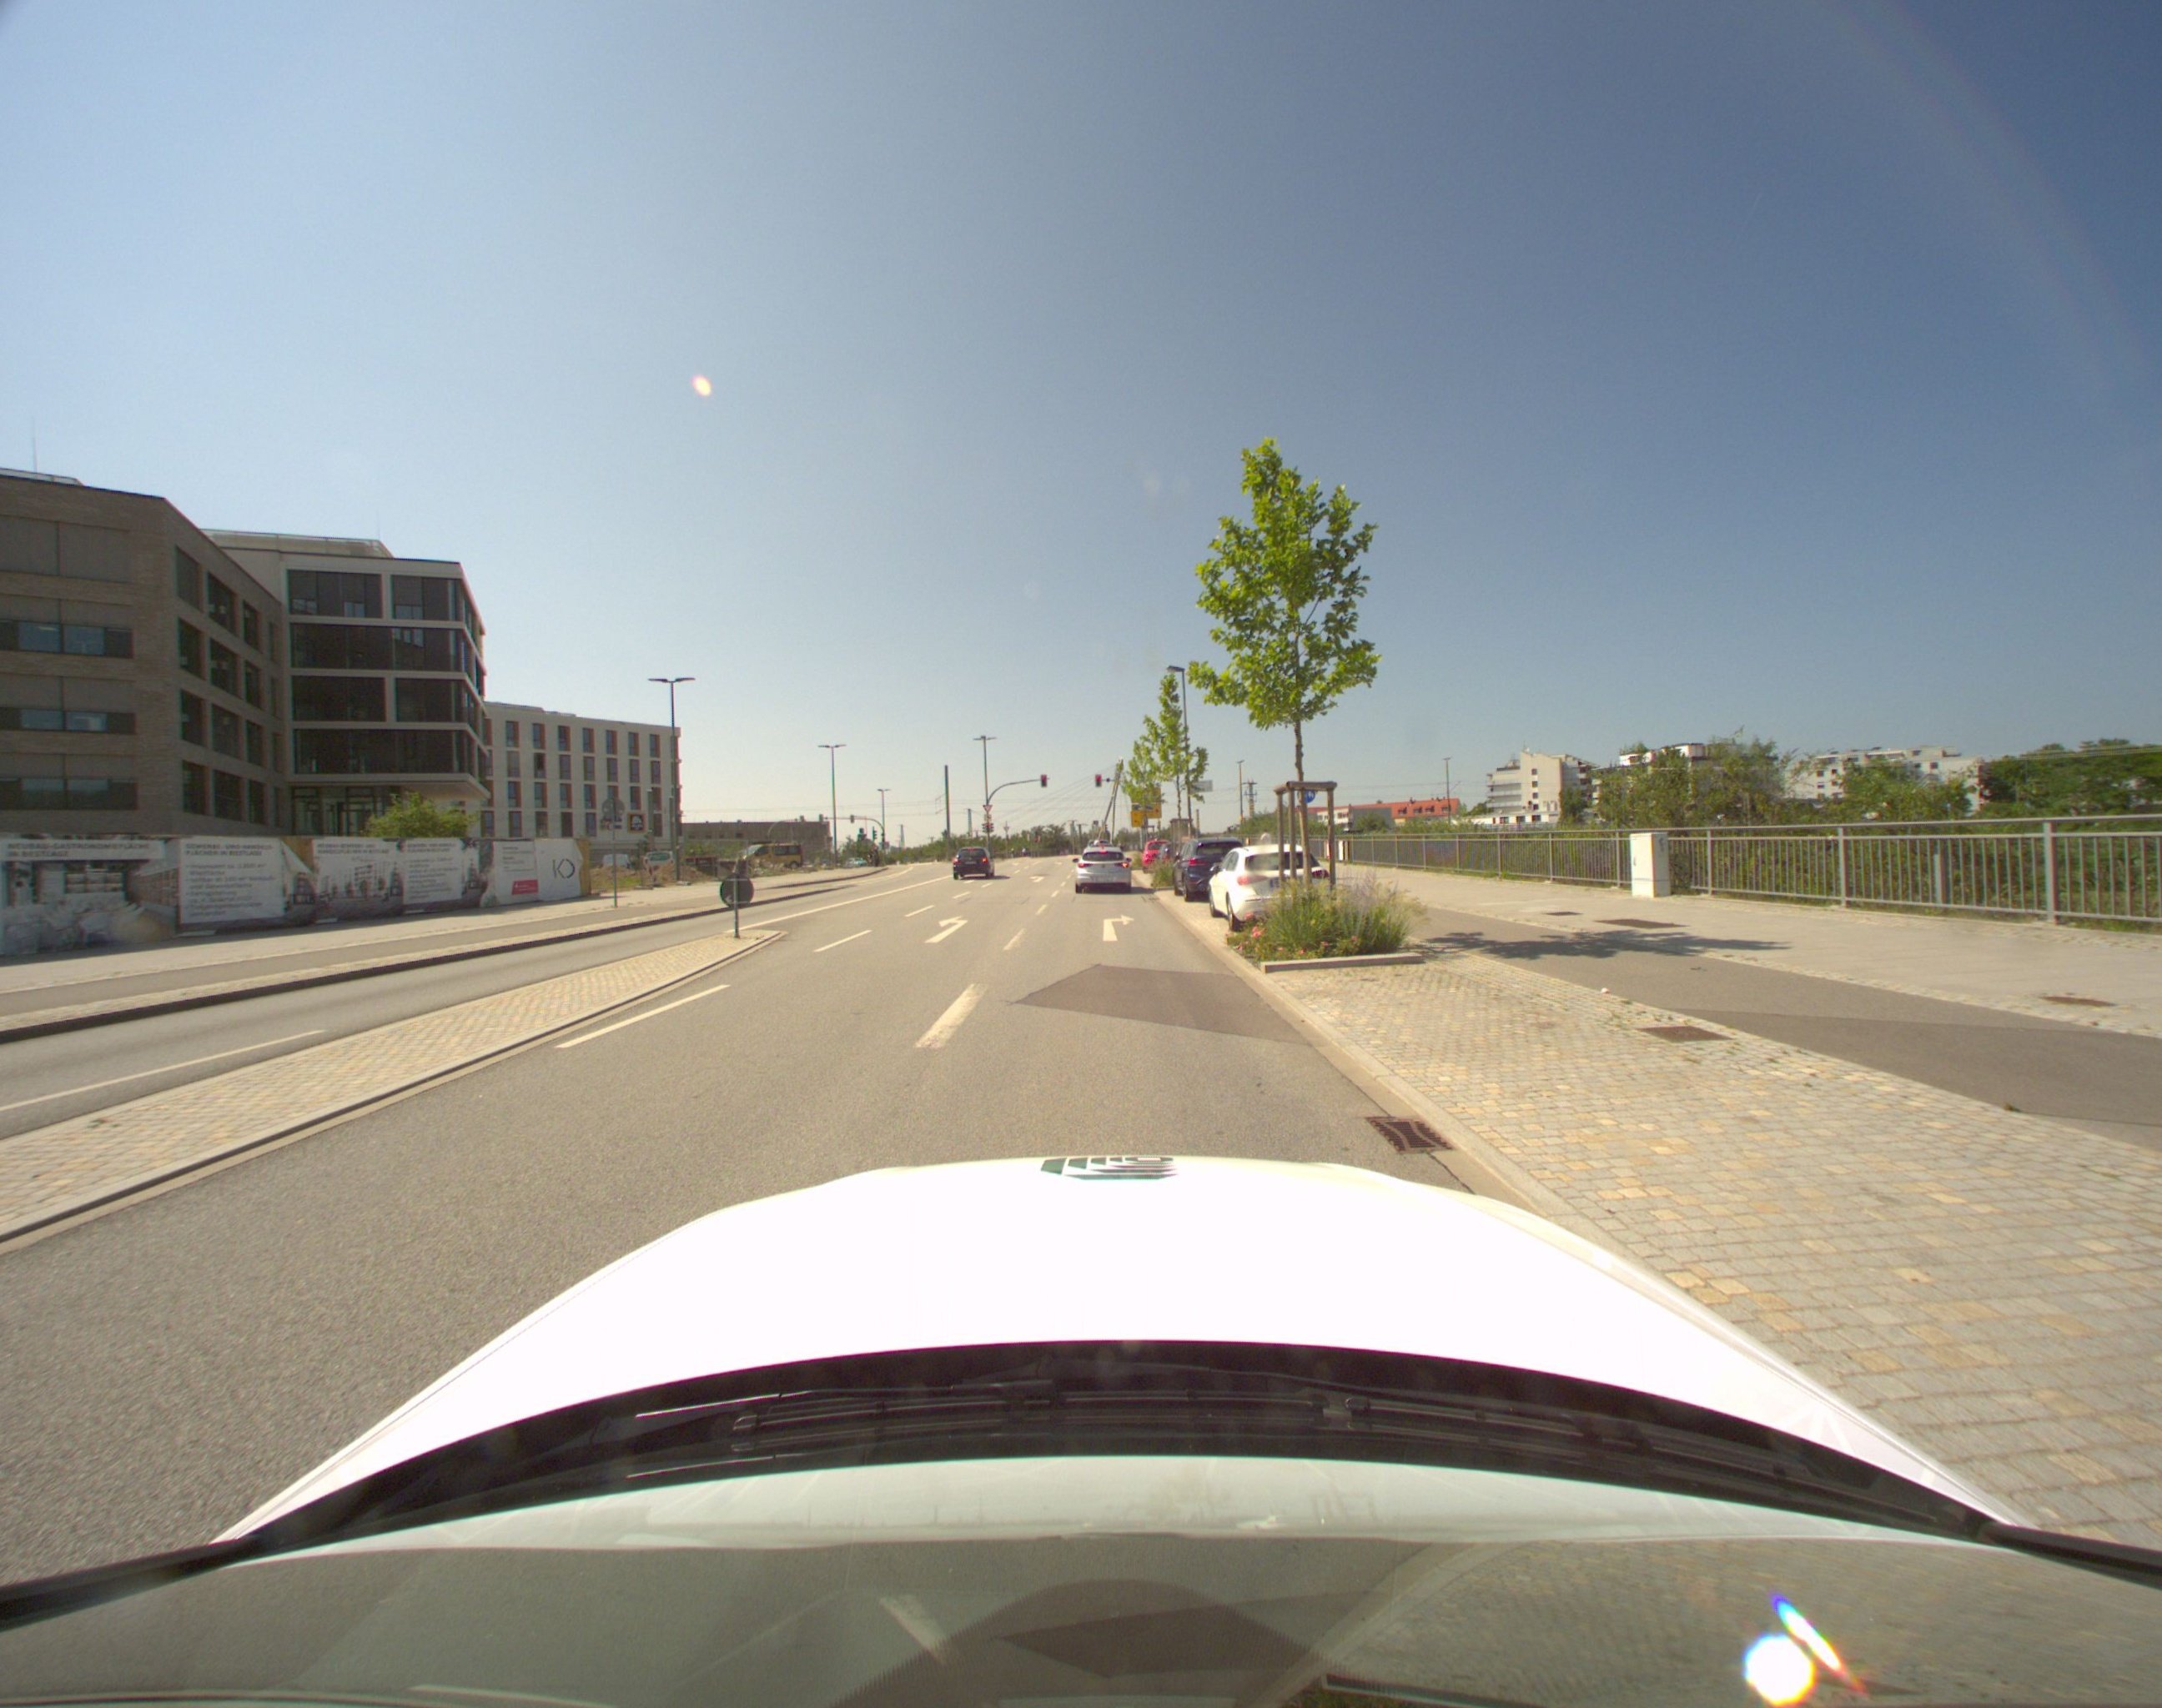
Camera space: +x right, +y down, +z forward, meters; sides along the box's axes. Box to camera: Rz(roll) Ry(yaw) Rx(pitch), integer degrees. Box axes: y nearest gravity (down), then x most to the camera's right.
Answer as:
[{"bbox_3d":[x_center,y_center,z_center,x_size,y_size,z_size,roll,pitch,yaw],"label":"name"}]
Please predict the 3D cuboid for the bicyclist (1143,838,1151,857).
[{"bbox_3d":[5.529,-0.543,68.100,0.591,1.644,0.312,0,-2,-5],"label":"bicyclist"}]

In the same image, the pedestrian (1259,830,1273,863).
[{"bbox_3d":[8.860,-0.359,39.020,0.531,1.575,0.524,-1,-2,1],"label":"pedestrian"}]

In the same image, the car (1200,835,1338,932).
[{"bbox_3d":[3.358,0.470,15.337,1.690,1.475,4.207,-3,0,2],"label":"car"}]

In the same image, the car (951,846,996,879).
[{"bbox_3d":[-4.897,0.375,37.487,1.615,1.416,3.725,-1,0,-1],"label":"car"}]

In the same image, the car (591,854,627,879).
[{"bbox_3d":[-33.228,0.845,57.399,2.038,1.672,4.557,-1,0,-29],"label":"car"}]

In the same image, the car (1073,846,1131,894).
[{"bbox_3d":[0.696,0.459,26.978,1.771,1.442,4.001,0,1,1],"label":"car"}]

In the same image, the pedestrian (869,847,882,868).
[{"bbox_3d":[-17.140,0.288,68.027,0.843,1.646,0.826,-1,0,-4],"label":"pedestrian"}]

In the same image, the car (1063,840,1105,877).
[{"bbox_3d":[0.194,0.152,37.442,1.772,1.568,4.001,-2,1,1],"label":"car"}]

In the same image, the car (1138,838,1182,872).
[{"bbox_3d":[3.812,0.039,39.927,1.772,1.503,4.001,-3,0,1],"label":"car"}]

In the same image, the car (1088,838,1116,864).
[{"bbox_3d":[1.396,-0.213,54.161,1.772,1.568,4.001,-2,1,1],"label":"car"}]

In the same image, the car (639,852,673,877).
[{"bbox_3d":[-30.474,0.749,58.382,2.038,1.672,4.557,-1,0,-29],"label":"car"}]

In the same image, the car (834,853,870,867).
[{"bbox_3d":[-29.927,0.799,106.384,3.958,1.772,2.007,-1,-1,14],"label":"car"}]

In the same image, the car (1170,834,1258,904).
[{"bbox_3d":[3.478,0.334,21.848,1.815,1.616,3.613,-3,1,2],"label":"car"}]

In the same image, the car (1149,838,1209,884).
[{"bbox_3d":[3.709,0.250,31.466,1.772,1.503,4.001,-6,0,1],"label":"car"}]

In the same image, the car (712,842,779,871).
[{"bbox_3d":[-24.291,0.162,59.055,1.974,2.013,4.025,-1,0,40],"label":"car"}]

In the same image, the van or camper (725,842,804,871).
[{"bbox_3d":[-21.827,0.189,56.272,1.975,1.897,4.745,-2,-2,44],"label":"van or camper"}]
